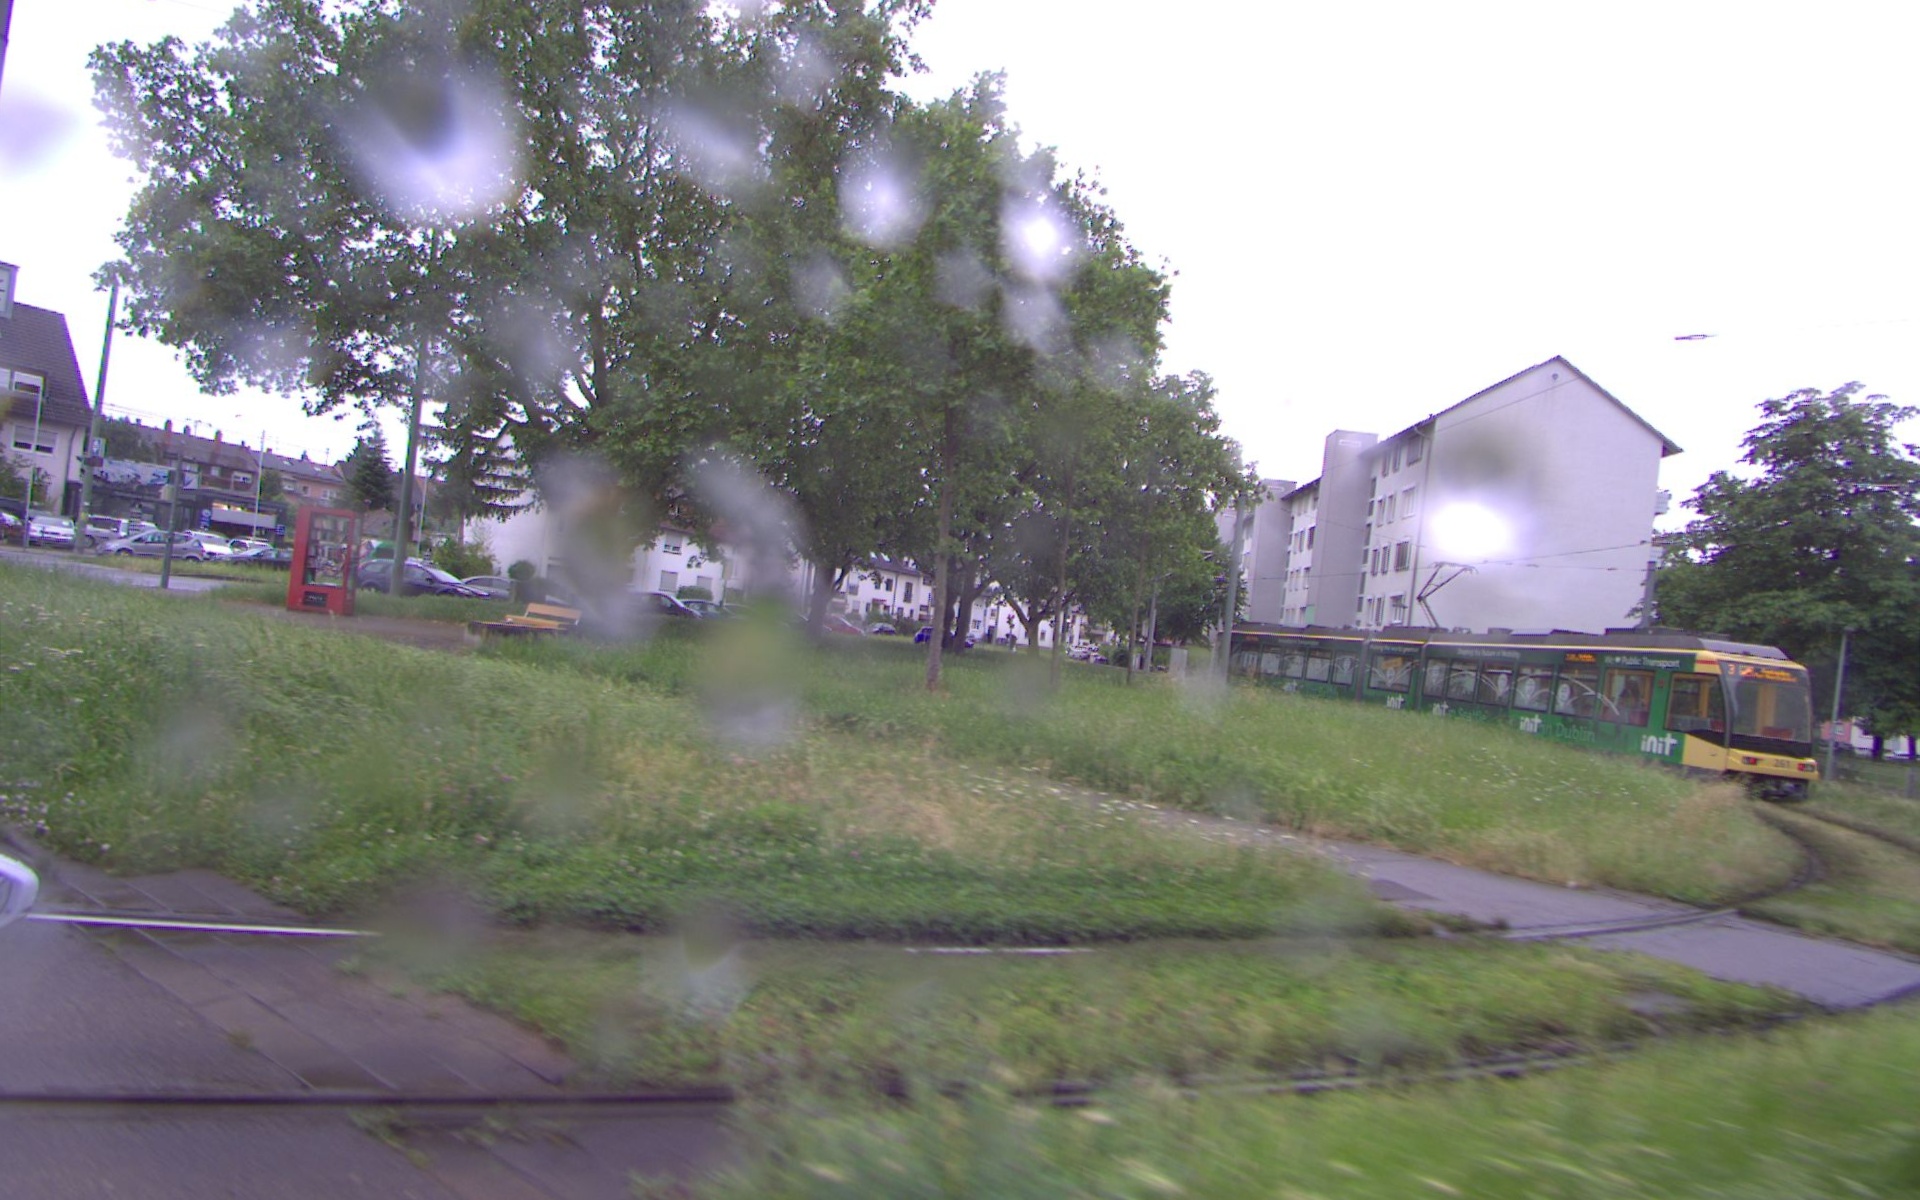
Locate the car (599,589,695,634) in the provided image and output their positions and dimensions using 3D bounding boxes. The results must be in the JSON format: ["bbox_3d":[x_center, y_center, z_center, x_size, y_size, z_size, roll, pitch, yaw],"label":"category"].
[{"bbox_3d":[-13.086,0.504,42.204,3.454,1.523,1.755,5,-3,-6],"label":"car"}]

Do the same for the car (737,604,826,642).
[{"bbox_3d":[-8.884,1.160,50.434,4.046,1.497,1.867,5,-2,-2],"label":"car"}]

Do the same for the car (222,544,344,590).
[{"bbox_3d":[-32.008,-1.524,47.692,1.693,1.352,4.392,6,-5,28],"label":"car"}]

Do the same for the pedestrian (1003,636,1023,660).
[{"bbox_3d":[4.053,3.681,77.258,1.029,1.734,1.080,5,-1,26],"label":"pedestrian"}]

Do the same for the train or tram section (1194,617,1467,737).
[{"bbox_3d":[14.324,2.745,41.433,2.672,3.630,14.711,8,-2,-12],"label":"train or tram section"}]

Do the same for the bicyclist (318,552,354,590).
[{"bbox_3d":[-29.903,-1.386,48.217,0.933,1.617,1.041,6,0,28],"label":"bicyclist"}]

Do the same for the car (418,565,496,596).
[{"bbox_3d":[-31.510,-1.182,63.070,1.966,1.585,3.885,7,2,29],"label":"car"}]

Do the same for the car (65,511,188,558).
[{"bbox_3d":[-42.543,-3.313,51.441,1.732,1.707,4.439,5,-2,32],"label":"car"}]

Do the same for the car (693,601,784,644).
[{"bbox_3d":[-10.376,1.080,47.393,3.931,1.570,1.960,6,-3,-9],"label":"car"}]

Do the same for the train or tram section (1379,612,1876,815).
[{"bbox_3d":[16.194,2.475,27.111,2.666,3.630,14.743,8,-2,-2],"label":"train or tram section"}]

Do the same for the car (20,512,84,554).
[{"bbox_3d":[-40.981,-3.033,45.366,4.007,1.520,1.825,5,-4,45],"label":"car"}]

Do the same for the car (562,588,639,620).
[{"bbox_3d":[-21.682,0.261,60.748,1.966,1.493,3.996,6,-2,28],"label":"car"}]

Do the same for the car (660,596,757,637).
[{"bbox_3d":[-11.243,0.755,45.153,3.928,1.518,1.824,4,-3,-7],"label":"car"}]

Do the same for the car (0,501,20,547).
[{"bbox_3d":[-46.089,-3.780,45.740,1.967,2.037,4.439,5,-2,32],"label":"car"}]

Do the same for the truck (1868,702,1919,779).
[{"bbox_3d":[50.165,7.528,52.859,3.158,3.511,7.125,5,-4,41],"label":"truck"}]

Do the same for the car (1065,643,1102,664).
[{"bbox_3d":[11.251,4.901,91.522,1.928,1.570,3.998,4,-4,29],"label":"car"}]

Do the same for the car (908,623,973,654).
[{"bbox_3d":[-1.218,2.417,63.699,3.926,1.501,1.999,6,0,-1],"label":"car"}]

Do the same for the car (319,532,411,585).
[{"bbox_3d":[-35.001,-2.451,59.145,5.062,2.432,2.151,6,-3,30],"label":"car"}]

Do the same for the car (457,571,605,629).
[{"bbox_3d":[-15.427,0.026,36.329,4.463,1.494,1.805,7,-1,4],"label":"car"}]

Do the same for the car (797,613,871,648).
[{"bbox_3d":[-6.650,1.610,53.303,3.530,1.498,1.639,5,-1,4],"label":"car"}]

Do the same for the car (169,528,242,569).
[{"bbox_3d":[-38.034,-2.591,50.717,3.559,1.590,1.721,6,-4,34],"label":"car"}]

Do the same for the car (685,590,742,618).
[{"bbox_3d":[-17.682,0.309,72.249,1.579,1.439,3.943,6,-4,30],"label":"car"}]

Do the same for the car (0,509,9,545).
[{"bbox_3d":[-42.494,-3.331,42.906,1.816,1.520,4.027,10,-4,-31],"label":"car"}]

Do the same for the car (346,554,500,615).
[{"bbox_3d":[-18.036,-0.491,33.936,4.100,1.494,1.805,7,-1,0],"label":"car"}]

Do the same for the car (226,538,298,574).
[{"bbox_3d":[-36.606,-2.325,52.748,3.780,1.411,1.721,6,-4,33],"label":"car"}]

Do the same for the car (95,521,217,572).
[{"bbox_3d":[-34.576,-2.284,43.355,1.693,1.520,3.643,6,-4,29],"label":"car"}]

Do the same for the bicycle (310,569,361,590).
[{"bbox_3d":[-29.946,-0.980,48.242,0.926,0.796,1.817,6,-1,28],"label":"bicycle"}]
